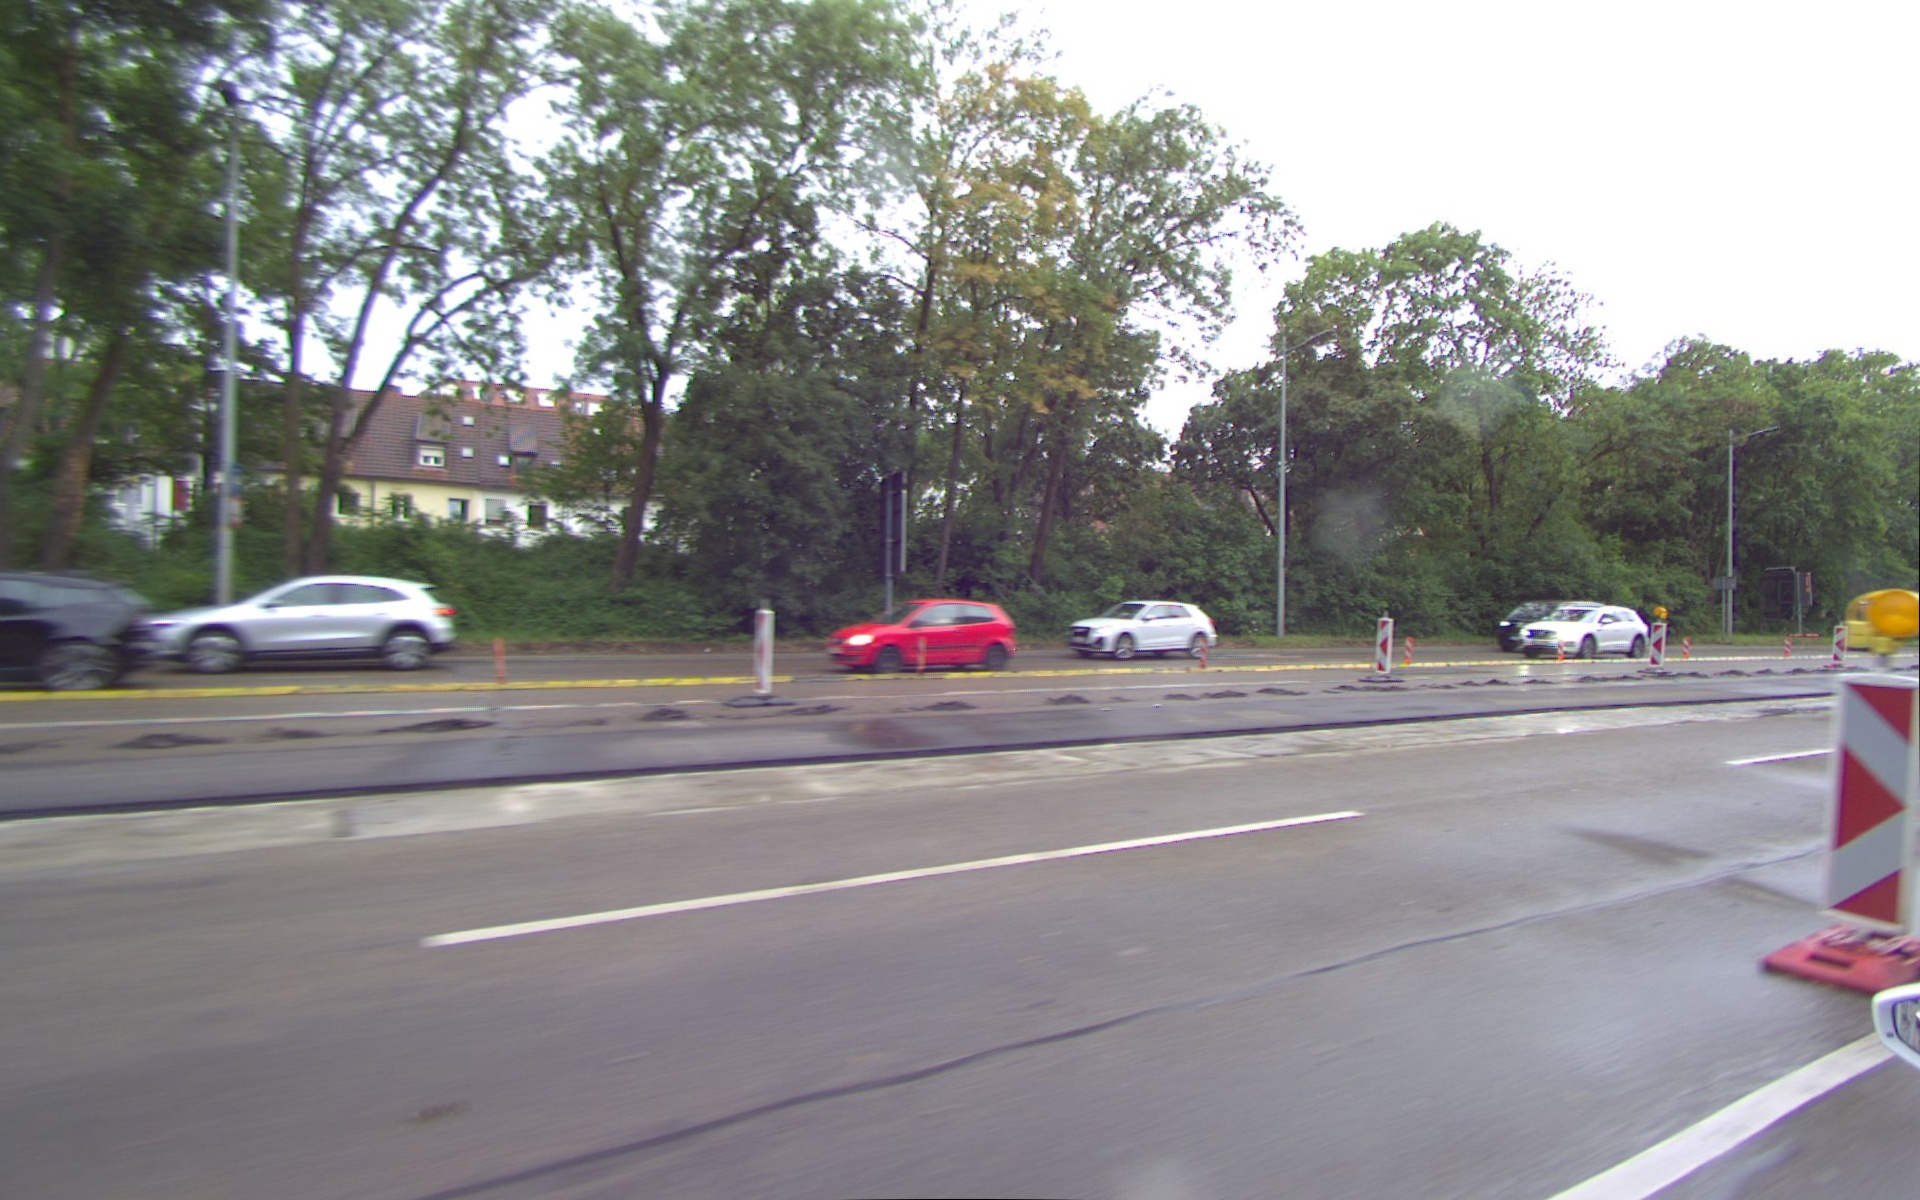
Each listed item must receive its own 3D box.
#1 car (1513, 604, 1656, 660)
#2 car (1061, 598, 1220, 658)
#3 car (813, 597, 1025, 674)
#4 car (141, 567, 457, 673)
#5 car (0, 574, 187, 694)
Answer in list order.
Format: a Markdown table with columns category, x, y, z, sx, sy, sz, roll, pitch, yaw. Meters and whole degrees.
| category | x | y | z | sx | sy | sz | roll | pitch | yaw |
| --- | --- | --- | --- | --- | --- | --- | --- | --- | --- |
| car | 20.188 | 1.018 | 32.419 | 4.837 | 1.683 | 1.880 | 1 | 0 | -31 |
| car | 4.845 | 0.773 | 26.856 | 4.100 | 1.516 | 1.671 | 1 | -2 | -31 |
| car | -0.799 | 0.699 | 20.366 | 3.966 | 1.419 | 1.671 | 1 | 0 | -31 |
| car | -11.231 | 0.339 | 17.413 | 4.369 | 1.648 | 1.693 | 1 | 1 | -32 |
| car | -12.837 | 0.403 | 13.101 | 4.149 | 1.507 | 1.767 | 1 | 0 | -31 |
